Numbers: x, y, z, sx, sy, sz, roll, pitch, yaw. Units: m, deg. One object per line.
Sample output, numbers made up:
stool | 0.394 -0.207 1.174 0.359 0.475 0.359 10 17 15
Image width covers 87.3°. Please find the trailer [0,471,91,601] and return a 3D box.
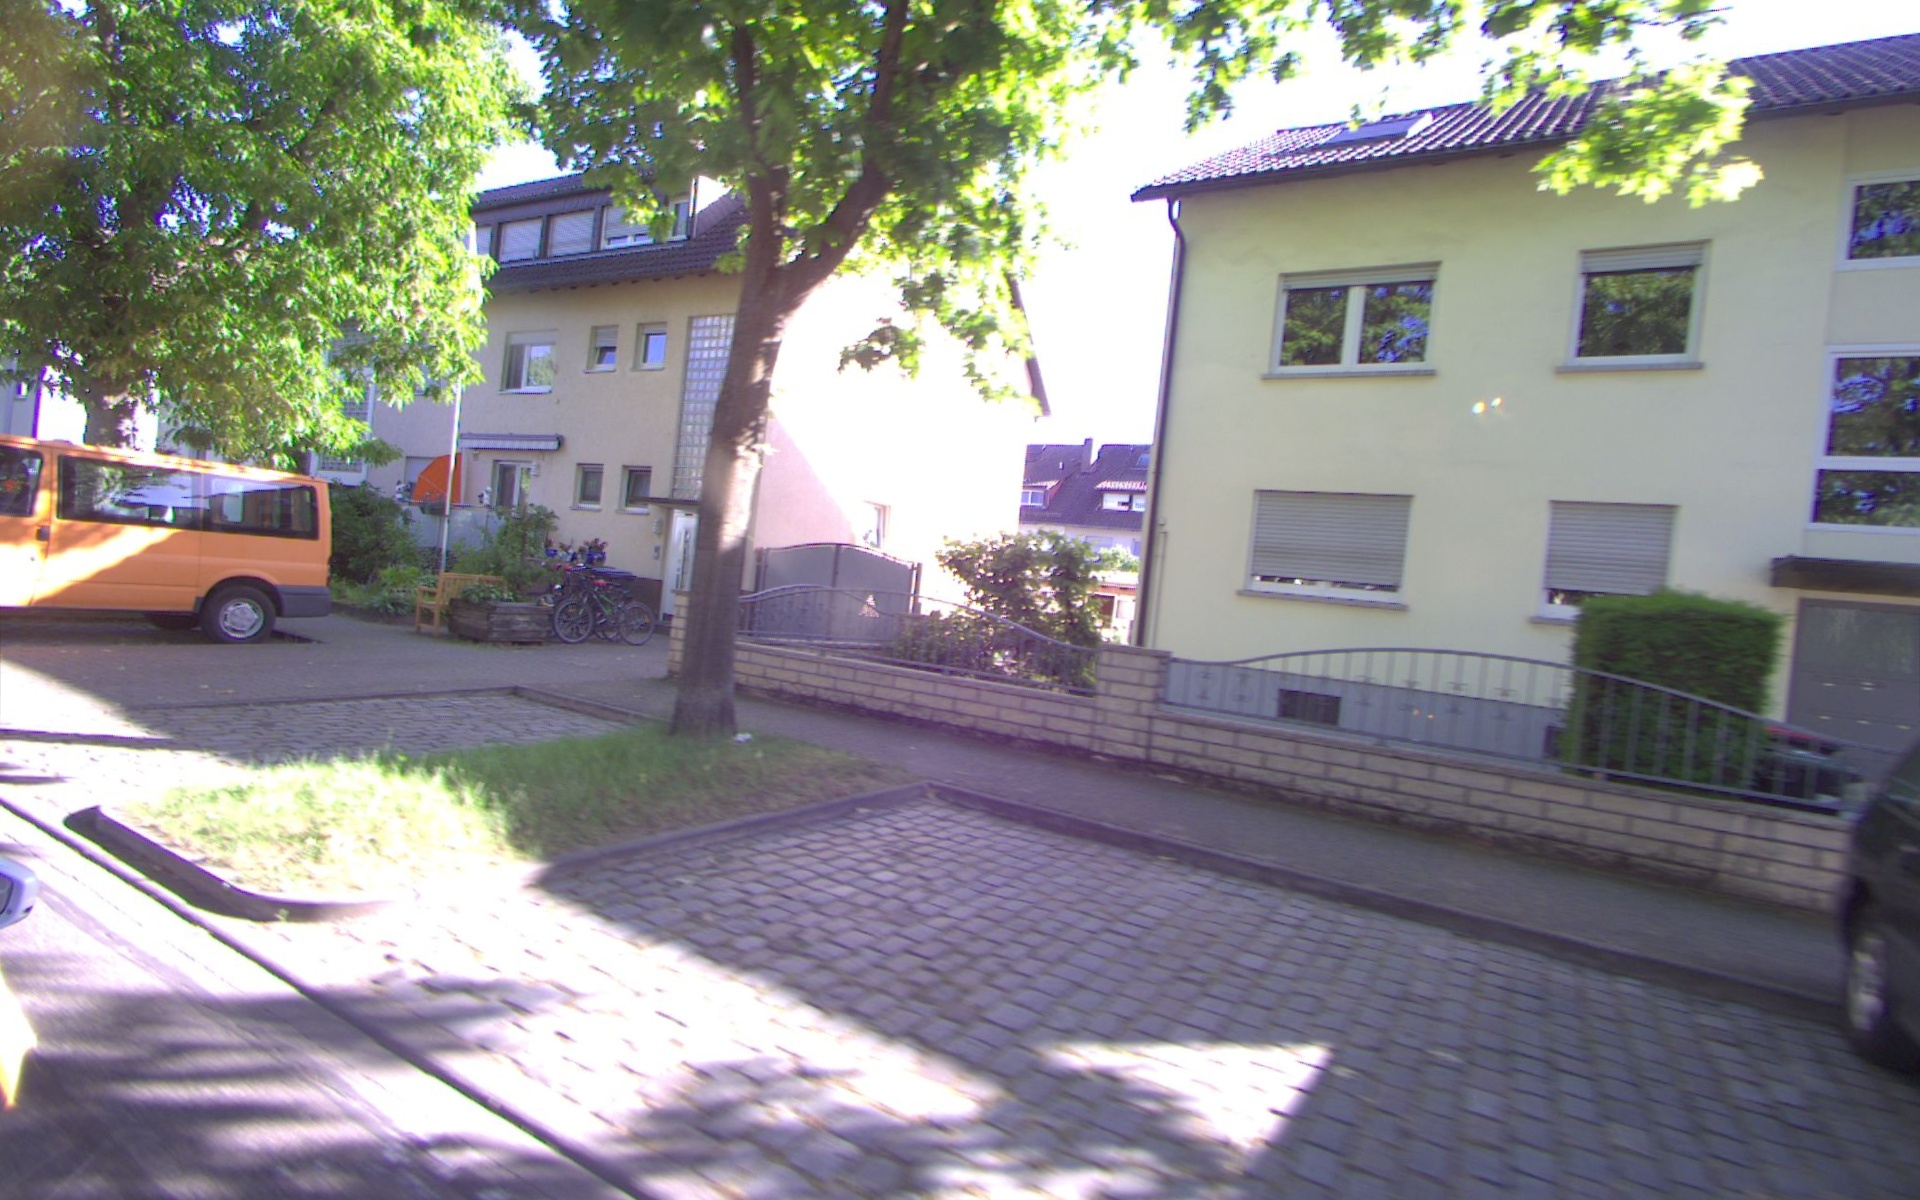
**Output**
trailer | -13.532 -0.927 13.083 1.586 1.686 2.950 6 2 25

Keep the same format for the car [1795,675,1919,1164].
car | 3.944 1.157 2.680 1.836 1.580 4.341 7 1 31

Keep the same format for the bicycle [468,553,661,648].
bicycle | -5.715 0.058 14.788 0.460 1.253 2.859 6 1 32

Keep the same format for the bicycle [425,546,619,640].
bicycle | -6.549 -0.053 15.268 0.460 1.253 2.859 7 1 32

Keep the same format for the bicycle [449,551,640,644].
bicycle | -6.114 0.010 15.048 0.460 1.253 2.859 6 1 32

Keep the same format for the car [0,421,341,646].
car | -9.631 -0.702 10.565 2.051 2.110 4.821 7 1 31
